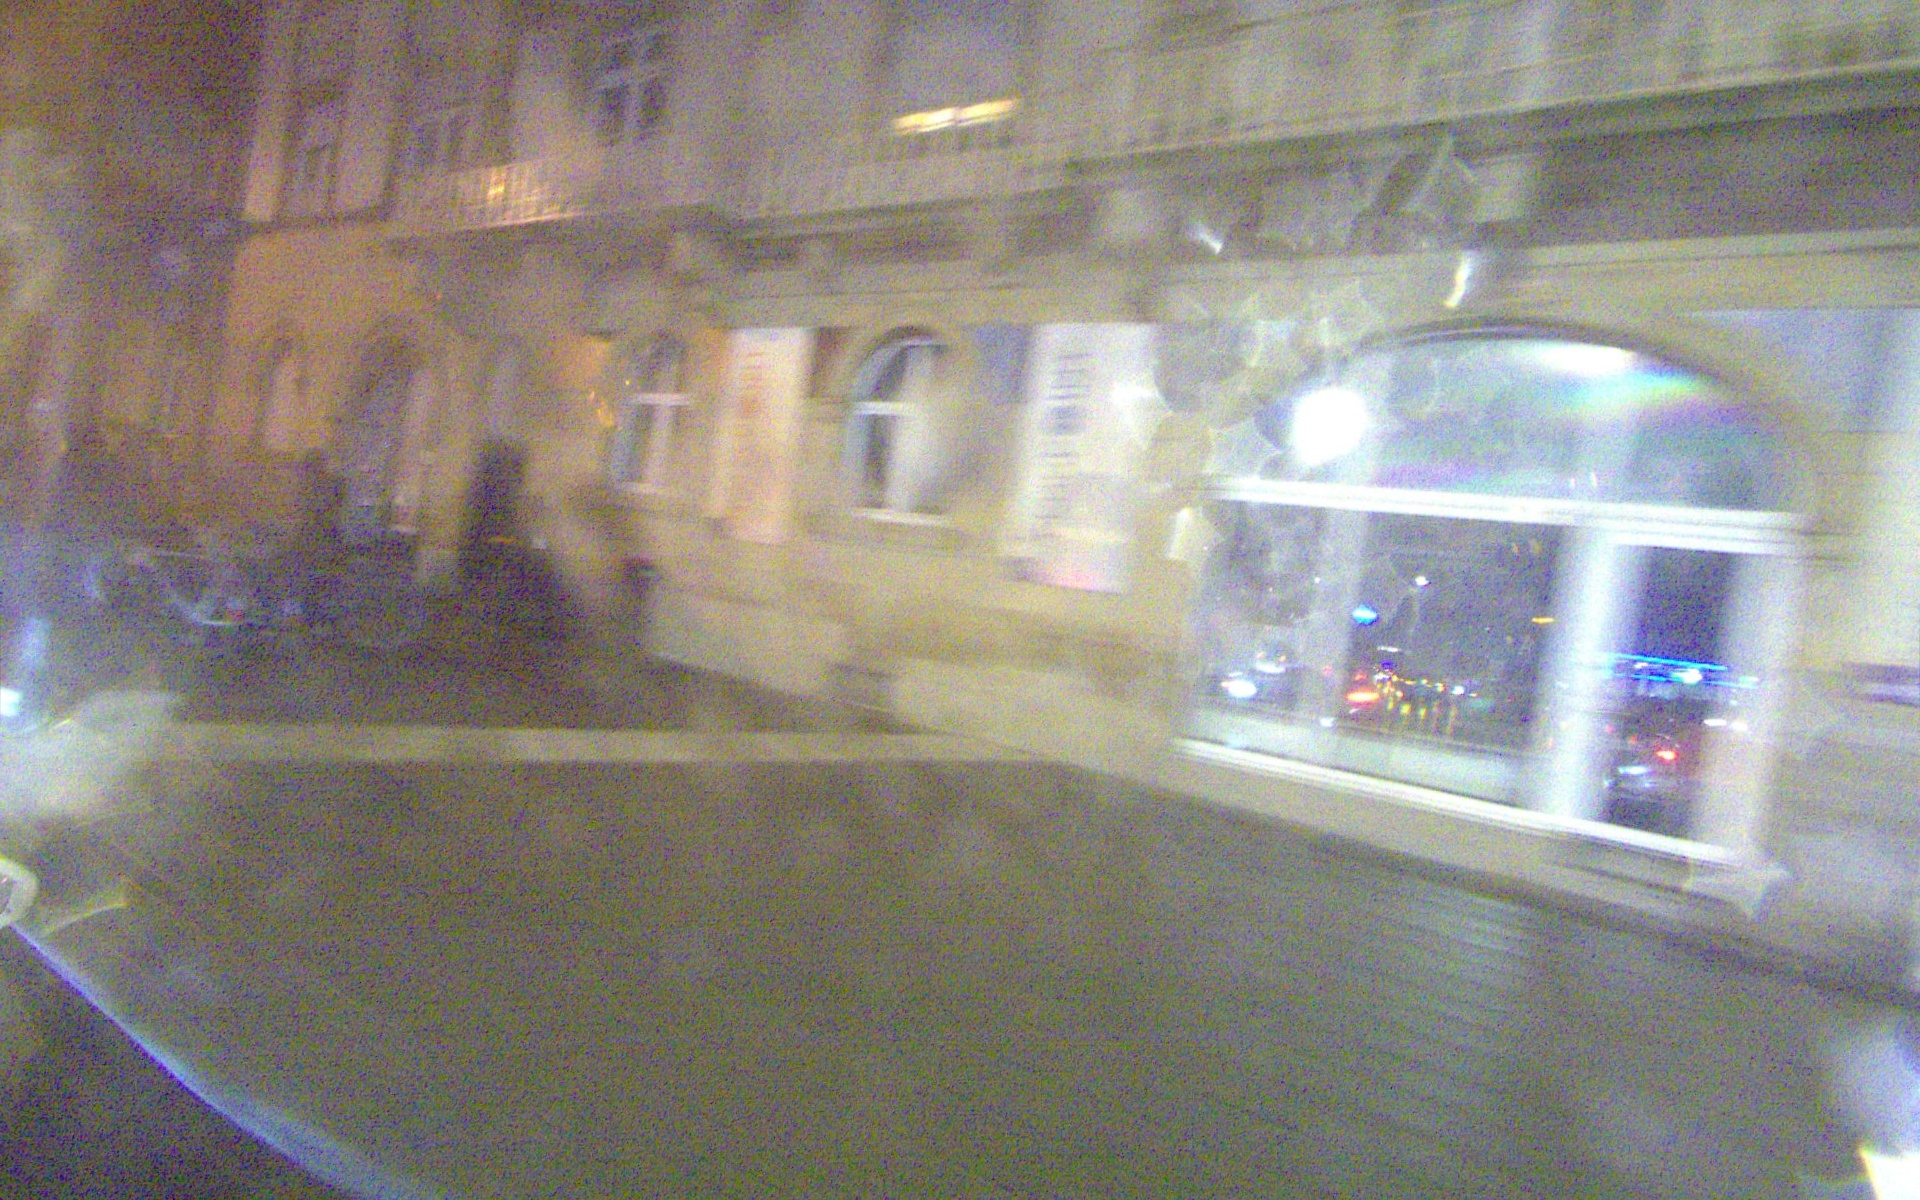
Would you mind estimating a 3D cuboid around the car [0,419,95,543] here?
[{"bbox_3d":[-13.354,-1.651,12.432,1.849,1.597,4.177,8,2,-6],"label":"car"}]

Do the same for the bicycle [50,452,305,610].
[{"bbox_3d":[-7.842,-0.639,10.186,0.585,1.378,1.899,8,3,27],"label":"bicycle"}]

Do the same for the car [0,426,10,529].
[{"bbox_3d":[-15.778,-1.947,13.666,1.700,1.611,4.180,8,2,-1],"label":"car"}]

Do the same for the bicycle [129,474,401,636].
[{"bbox_3d":[-6.189,-0.348,9.087,0.585,1.268,1.899,8,3,27],"label":"bicycle"}]

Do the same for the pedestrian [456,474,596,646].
[{"bbox_3d":[-4.583,-0.416,10.628,0.983,1.638,0.781,10,3,32],"label":"pedestrian"}]

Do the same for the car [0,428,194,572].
[{"bbox_3d":[-10.995,-1.201,11.238,1.825,1.477,4.177,8,2,-6],"label":"car"}]

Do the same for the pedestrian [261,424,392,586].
[{"bbox_3d":[-8.299,-1.231,13.193,0.983,1.906,0.958,10,3,32],"label":"pedestrian"}]

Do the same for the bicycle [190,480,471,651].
[{"bbox_3d":[-5.369,-0.252,8.727,0.698,1.268,1.899,8,3,27],"label":"bicycle"}]

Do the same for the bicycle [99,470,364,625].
[{"bbox_3d":[-6.787,-0.441,9.498,0.585,1.268,1.899,8,3,27],"label":"bicycle"}]

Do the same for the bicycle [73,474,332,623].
[{"bbox_3d":[-7.339,-0.451,9.867,0.585,1.268,1.899,8,3,27],"label":"bicycle"}]
